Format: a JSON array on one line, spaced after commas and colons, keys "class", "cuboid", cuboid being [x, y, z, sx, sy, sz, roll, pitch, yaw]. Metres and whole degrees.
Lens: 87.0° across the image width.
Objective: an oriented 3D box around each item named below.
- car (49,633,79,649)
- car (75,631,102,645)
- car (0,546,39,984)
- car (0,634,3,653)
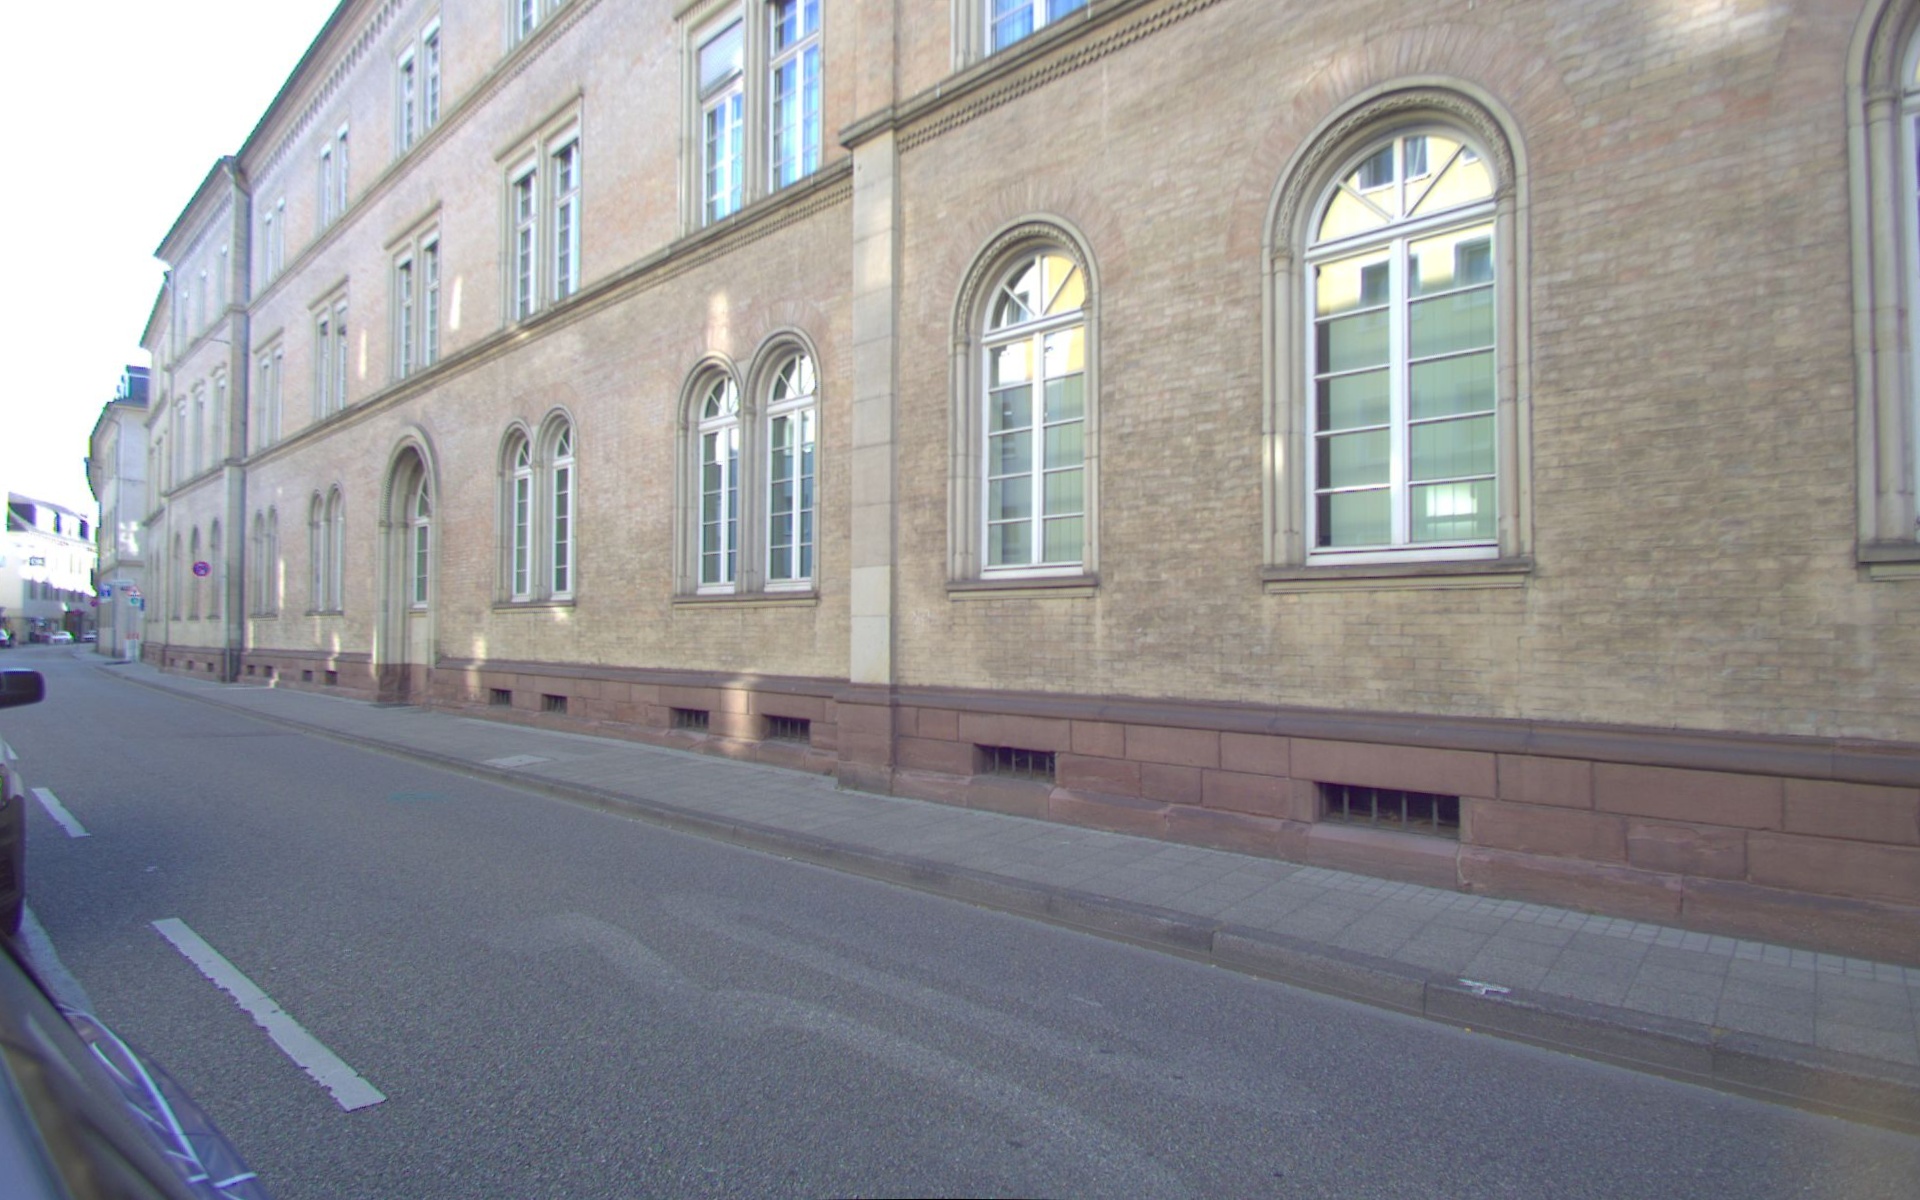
[{"class": "car", "cuboid": [-102.837, 4.673, 116.177, 1.966, 1.665, 4.240, -1, 0, -33]}, {"class": "car", "cuboid": [-109.211, 4.749, 126.830, 1.966, 1.665, 4.240, -1, 0, -33]}, {"class": "car", "cuboid": [-6.419, 0.684, 5.305, 5.329, 1.784, 1.747, -1, -2, 41]}, {"class": "car", "cuboid": [-86.596, 3.887, 89.951, 1.969, 1.665, 4.235, -1, 0, -41]}]
